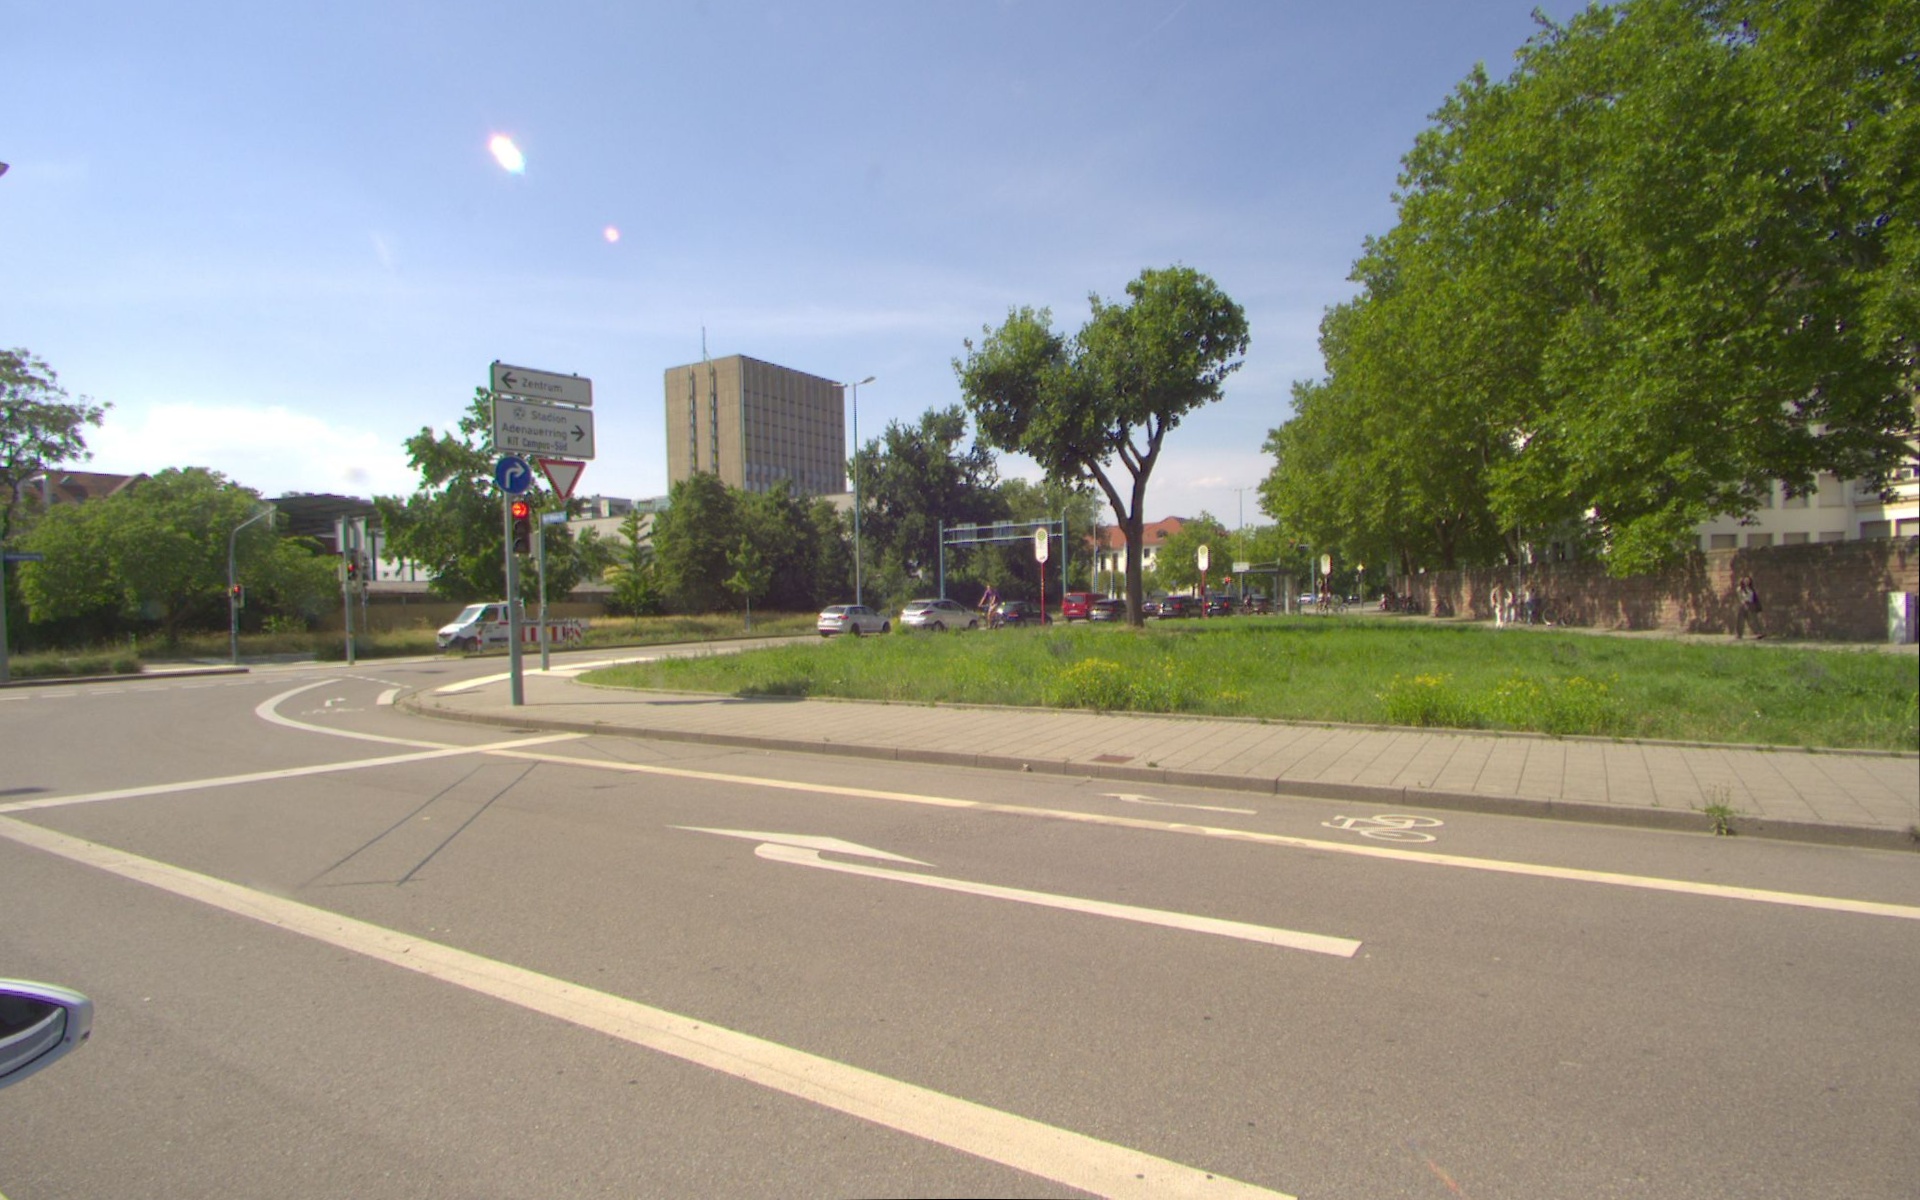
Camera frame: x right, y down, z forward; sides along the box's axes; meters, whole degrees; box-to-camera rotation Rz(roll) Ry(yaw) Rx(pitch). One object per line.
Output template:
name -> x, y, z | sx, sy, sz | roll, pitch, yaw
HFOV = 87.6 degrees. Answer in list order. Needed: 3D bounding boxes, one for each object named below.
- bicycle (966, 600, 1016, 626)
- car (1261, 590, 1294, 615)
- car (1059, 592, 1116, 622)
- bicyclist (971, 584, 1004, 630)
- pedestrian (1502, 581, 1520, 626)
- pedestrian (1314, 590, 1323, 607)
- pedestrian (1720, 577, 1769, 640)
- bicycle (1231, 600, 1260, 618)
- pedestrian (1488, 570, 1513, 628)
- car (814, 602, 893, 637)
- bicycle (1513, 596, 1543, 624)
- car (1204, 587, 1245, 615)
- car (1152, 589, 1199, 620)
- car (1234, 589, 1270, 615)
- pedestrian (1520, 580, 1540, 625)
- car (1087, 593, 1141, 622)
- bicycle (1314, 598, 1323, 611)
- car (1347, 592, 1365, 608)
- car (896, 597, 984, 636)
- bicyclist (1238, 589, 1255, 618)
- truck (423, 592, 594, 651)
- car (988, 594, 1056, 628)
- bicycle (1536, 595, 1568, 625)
bicycle -> 1.152, 0.482, 36.706 | 1.912, 0.899, 0.679 | -2, 1, -42
car -> 27.899, 0.218, 87.930 | 1.970, 2.039, 3.984 | -1, -2, 29
car -> 8.256, 0.445, 64.621 | 1.950, 1.821, 4.587 | -1, 1, 31
bicyclist -> 1.021, 0.253, 36.709 | 1.068, 1.659, 0.486 | -1, 1, 29
pedestrian -> 20.177, 0.132, 36.674 | 0.515, 1.599, 0.701 | -1, 1, 23
pedestrian -> 31.868, -0.127, 89.022 | 0.552, 1.458, 0.729 | 0, 1, 30
pedestrian -> 19.985, 0.213, 25.526 | 0.493, 1.569, 0.913 | -1, 1, -3
bicycle -> 20.916, 0.676, 73.283 | 0.838, 1.233, 3.462 | -1, -2, 37
pedestrian -> 19.277, -0.039, 35.700 | 0.513, 2.040, 0.596 | -2, 1, -9
car -> -4.730, 0.860, 45.019 | 1.559, 1.439, 4.156 | -1, 1, 26
bicycle -> 21.814, 0.362, 38.485 | 0.439, 1.047, 1.447 | -1, 1, 6
car -> 19.865, 0.062, 75.136 | 1.970, 2.041, 3.980 | -1, 1, 30
car -> 14.724, 0.294, 68.273 | 1.970, 2.041, 3.980 | -1, 1, 30
car -> 24.044, 0.109, 82.397 | 1.970, 2.041, 3.980 | -1, 1, 30
pedestrian -> 20.764, 0.089, 36.472 | 0.515, 1.599, 0.701 | -1, 1, 23
car -> 9.324, 0.449, 60.479 | 1.564, 1.612, 3.972 | -1, 1, 37
bicycle -> 31.910, 0.403, 89.081 | 0.552, 1.066, 1.318 | -1, 1, 30
car -> 54.541, -0.004, 137.829 | 1.968, 2.039, 3.987 | -1, -2, 26
car -> -0.876, 0.726, 45.965 | 1.691, 1.640, 4.183 | -1, 1, 40
bicyclist -> 20.961, 0.271, 73.357 | 0.769, 2.039, 1.265 | -1, -2, 38
truck -> -20.763, 0.935, 46.481 | 2.380, 2.386, 7.007 | -3, 0, 33
car -> 3.205, 0.538, 51.241 | 1.564, 1.612, 3.972 | -1, 1, 37
bicycle -> 21.654, 0.360, 36.673 | 0.439, 1.047, 1.447 | -1, 1, 6
